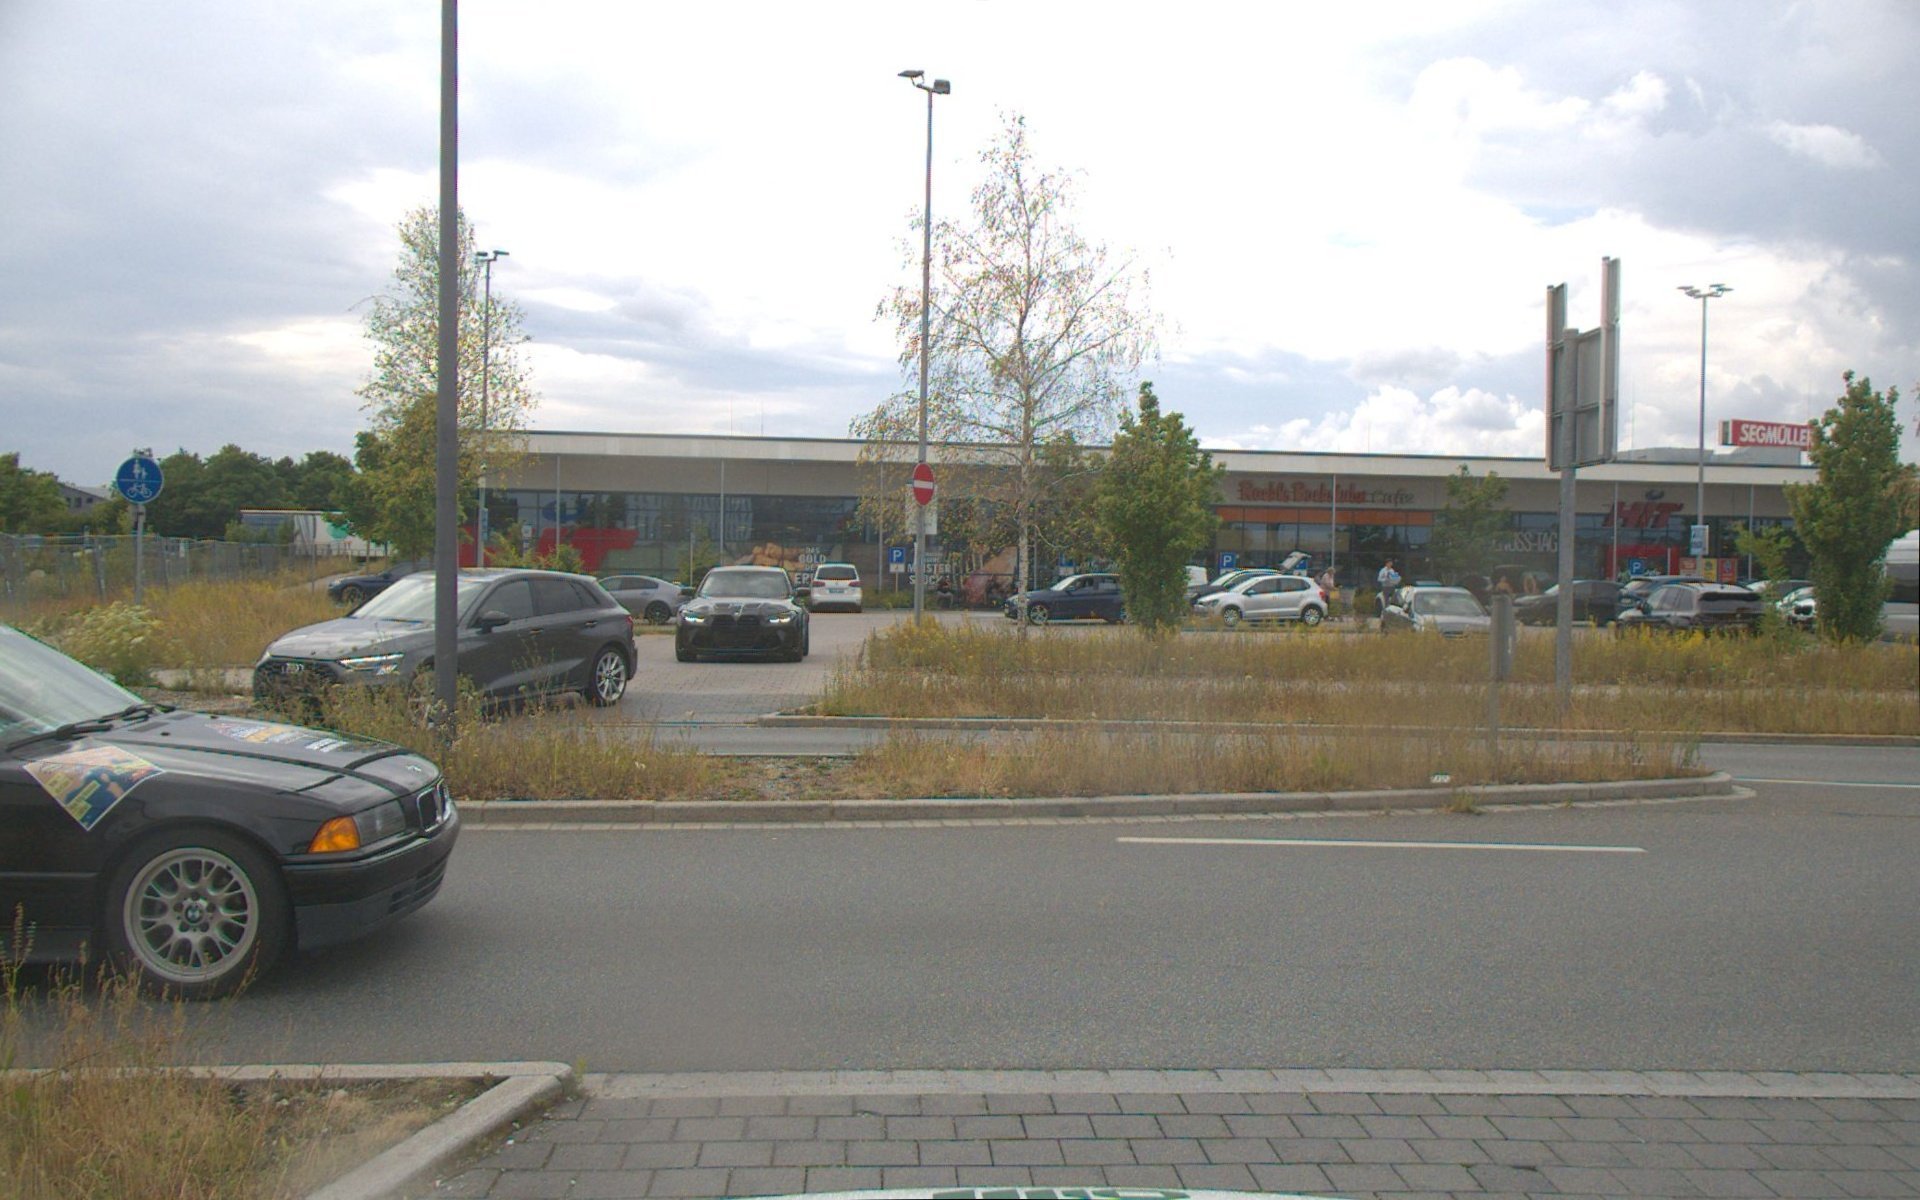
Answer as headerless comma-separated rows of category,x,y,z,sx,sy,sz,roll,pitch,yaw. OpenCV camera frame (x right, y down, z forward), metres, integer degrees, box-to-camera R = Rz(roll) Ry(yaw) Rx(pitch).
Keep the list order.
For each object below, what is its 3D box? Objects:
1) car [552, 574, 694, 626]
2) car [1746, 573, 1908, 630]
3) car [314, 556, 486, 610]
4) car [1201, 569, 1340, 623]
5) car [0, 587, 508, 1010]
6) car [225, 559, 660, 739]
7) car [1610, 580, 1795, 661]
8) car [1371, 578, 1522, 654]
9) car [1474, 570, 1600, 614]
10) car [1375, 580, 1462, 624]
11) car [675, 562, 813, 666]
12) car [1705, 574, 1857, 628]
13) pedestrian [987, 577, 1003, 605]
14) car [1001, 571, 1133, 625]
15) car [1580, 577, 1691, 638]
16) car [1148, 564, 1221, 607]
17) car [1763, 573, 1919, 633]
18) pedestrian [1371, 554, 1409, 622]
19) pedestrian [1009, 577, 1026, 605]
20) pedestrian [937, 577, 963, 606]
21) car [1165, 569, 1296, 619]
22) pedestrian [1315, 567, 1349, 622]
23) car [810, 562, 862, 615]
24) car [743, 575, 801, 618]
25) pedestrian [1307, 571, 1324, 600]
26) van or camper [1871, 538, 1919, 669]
car,-9.778,-0.010,48.192,3.913,1.375,1.996,1,1,-9
car,26.626,0.021,50.888,3.904,1.646,2.001,1,1,2
car,-17.802,-0.527,52.841,4.917,1.585,1.995,1,1,-11
car,9.067,-0.117,48.422,3.675,1.479,1.666,1,1,-6
car,-4.082,0.670,6.455,4.204,1.410,1.757,1,1,-6
car,-4.899,0.376,16.350,1.755,1.492,4.320,2,2,22
car,14.852,0.366,33.332,1.947,1.476,4.151,1,1,2
car,9.833,0.279,33.769,1.947,1.408,4.151,1,1,2
car,21.265,-0.304,61.002,3.909,1.534,1.998,1,1,-5
car,17.358,0.055,62.777,1.954,1.534,3.997,1,1,-4
car,-3.303,0.174,26.058,1.744,1.471,4.608,1,1,-3
car,26.572,0.015,53.628,3.904,1.646,2.001,1,1,2
pedestrian,1.458,-0.390,69.519,0.565,1.143,0.560,1,1,-10
car,3.044,-0.070,47.469,3.538,1.479,1.665,1,1,-7
car,19.937,0.184,48.983,1.776,1.682,4.002,1,1,2
car,8.331,-0.555,61.709,1.954,1.534,3.997,1,1,-4
car,25.781,0.070,48.087,3.904,1.646,2.001,1,1,2
pedestrian,13.274,-0.380,51.082,0.847,2.048,1.003,1,1,-1
pedestrian,2.391,-0.358,68.626,0.565,1.143,0.560,1,1,-10
pedestrian,-0.445,-0.372,69.687,0.952,1.174,1.131,1,1,-8
car,8.356,-0.195,51.239,3.675,1.479,1.666,1,1,-6
pedestrian,11.555,-0.169,51.379,0.805,1.660,0.899,1,0,-1
car,-4.460,-0.449,59.878,1.788,1.729,4.232,1,2,-3
car,-6.768,-0.149,59.766,1.869,1.469,3.998,1,1,-4
pedestrian,14.919,-0.608,69.484,0.549,1.222,0.527,0,1,-6
van or camper,19.756,0.093,32.135,2.234,2.536,4.003,1,1,7
